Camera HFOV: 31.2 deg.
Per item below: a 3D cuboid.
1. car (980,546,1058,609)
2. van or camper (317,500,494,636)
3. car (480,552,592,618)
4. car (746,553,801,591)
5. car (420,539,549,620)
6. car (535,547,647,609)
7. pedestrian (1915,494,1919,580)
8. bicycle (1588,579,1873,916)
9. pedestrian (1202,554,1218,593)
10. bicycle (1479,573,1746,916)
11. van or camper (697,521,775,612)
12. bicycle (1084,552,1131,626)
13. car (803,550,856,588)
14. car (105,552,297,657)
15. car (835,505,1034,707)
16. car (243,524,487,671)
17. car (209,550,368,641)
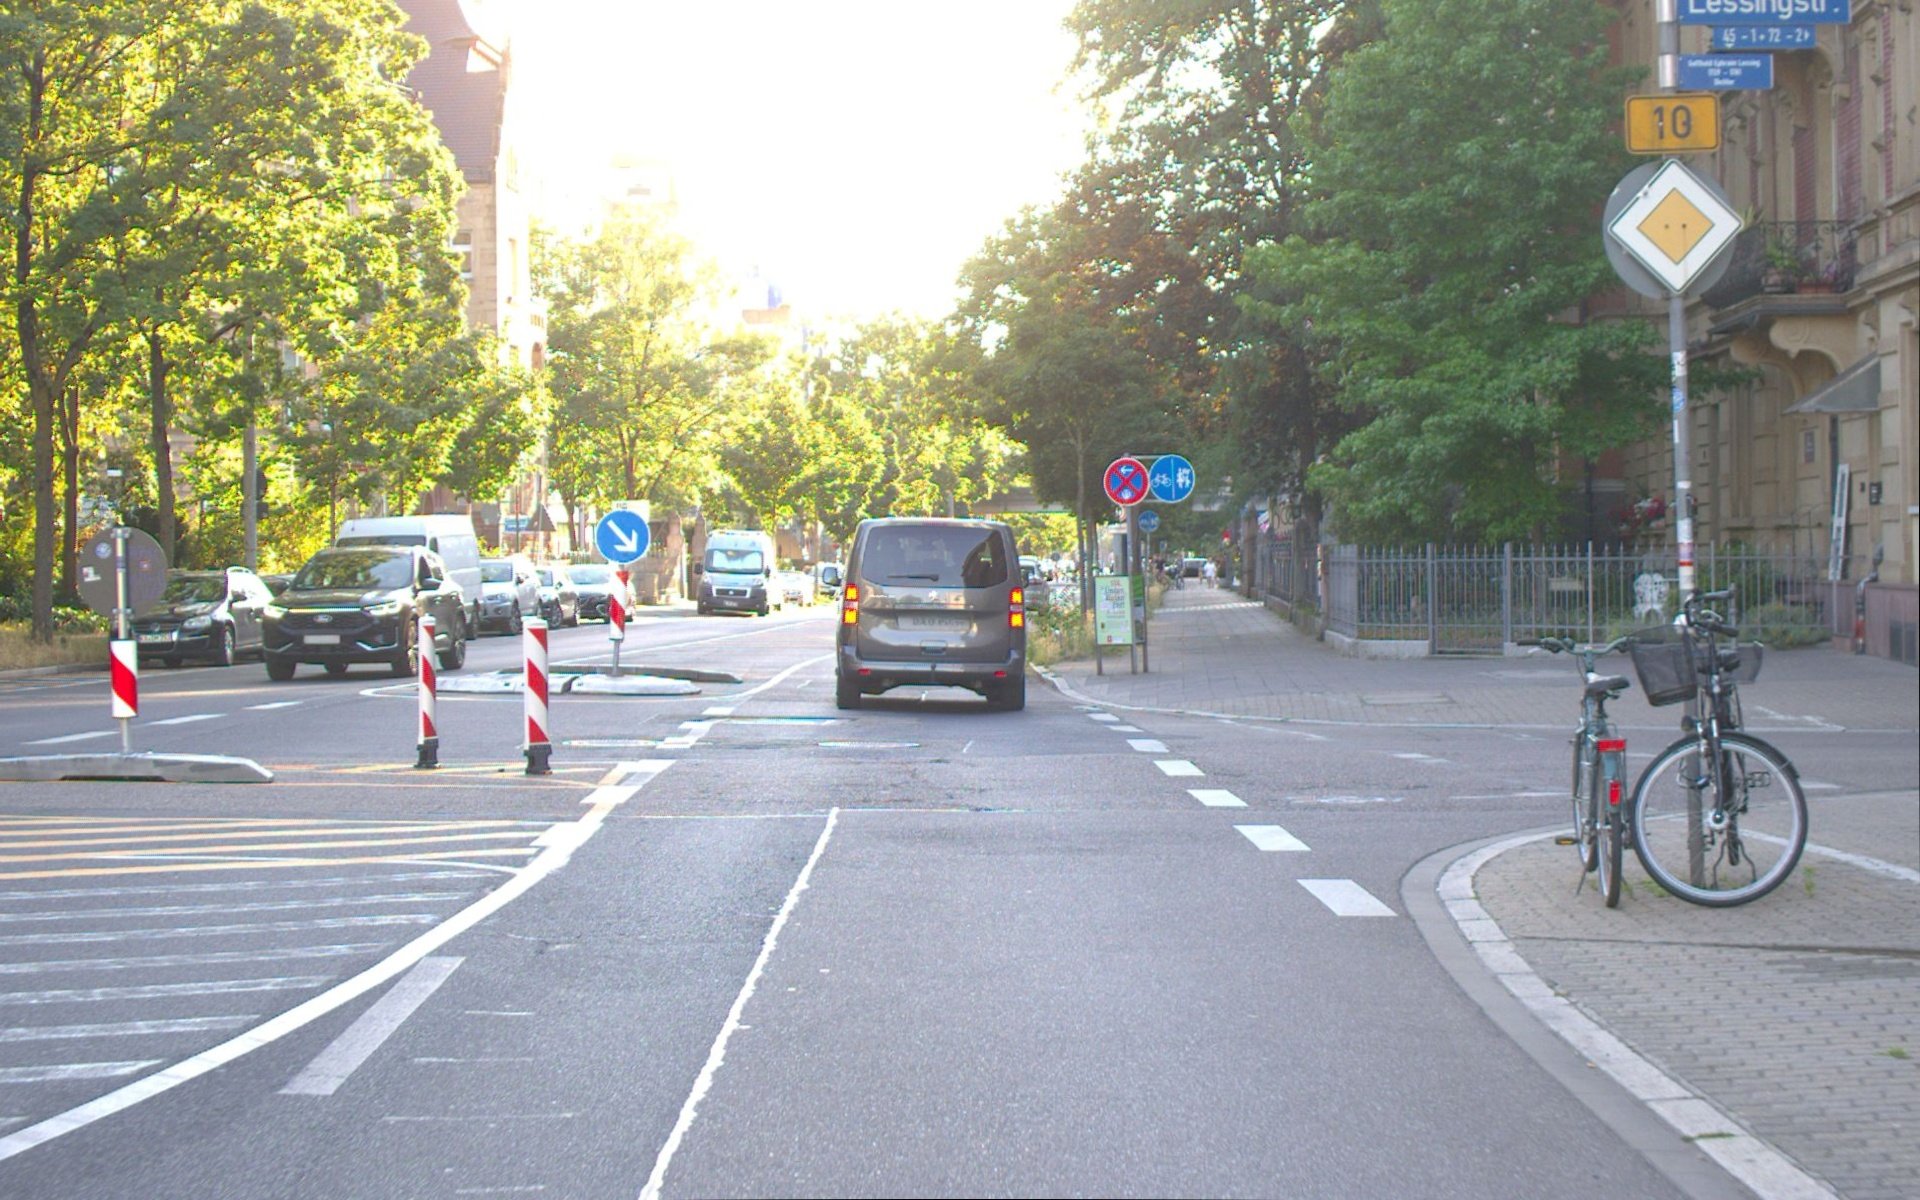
[{"bbox_3d":[1.594,-0.626,92.165,1.993,1.628,4.000,0,1,2],"label":"car"},{"bbox_3d":[-10.677,-0.652,66.676,2.091,2.460,6.305,-1,1,3],"label":"van or camper"},{"bbox_3d":[-9.690,-0.361,78.820,1.736,1.440,4.625,0,1,3],"label":"car"},{"bbox_3d":[-6.505,-0.987,120.295,1.536,1.244,3.614,2,1,3],"label":"car"},{"bbox_3d":[-10.091,-0.461,73.213,1.866,1.639,4.571,-1,1,3],"label":"car"},{"bbox_3d":[-9.137,-0.569,85.442,1.994,1.478,4.829,0,1,3],"label":"car"},{"bbox_3d":[9.954,-0.182,33.887,0.745,1.772,0.831,-3,1,0],"label":"pedestrian"},{"bbox_3d":[3.203,0.582,14.492,0.565,1.271,2.265,-4,0,-1],"label":"bicycle"},{"bbox_3d":[10.779,-1.141,148.306,0.644,1.627,0.656,2,1,4],"label":"pedestrian"},{"bbox_3d":[2.706,0.570,14.480,0.565,1.295,2.265,-4,0,-1],"label":"bicycle"},{"bbox_3d":[-6.845,-1.047,105.772,1.993,2.659,6.039,2,1,-1],"label":"van or camper"},{"bbox_3d":[2.409,-0.187,56.369,0.646,1.163,1.931,2,1,0],"label":"bicycle"},{"bbox_3d":[-5.118,-1.228,135.051,1.697,1.446,4.000,2,1,3],"label":"car"},{"bbox_3d":[-11.459,0.032,52.180,1.624,1.501,4.543,-1,1,4],"label":"car"},{"bbox_3d":[-0.286,0.025,34.949,1.887,1.918,3.839,-1,1,-1],"label":"car"},{"bbox_3d":[-7.557,-0.056,44.093,1.877,1.700,4.566,-3,1,5],"label":"car"},{"bbox_3d":[-11.236,-0.108,57.801,1.628,1.424,4.242,-1,1,3],"label":"car"}]
